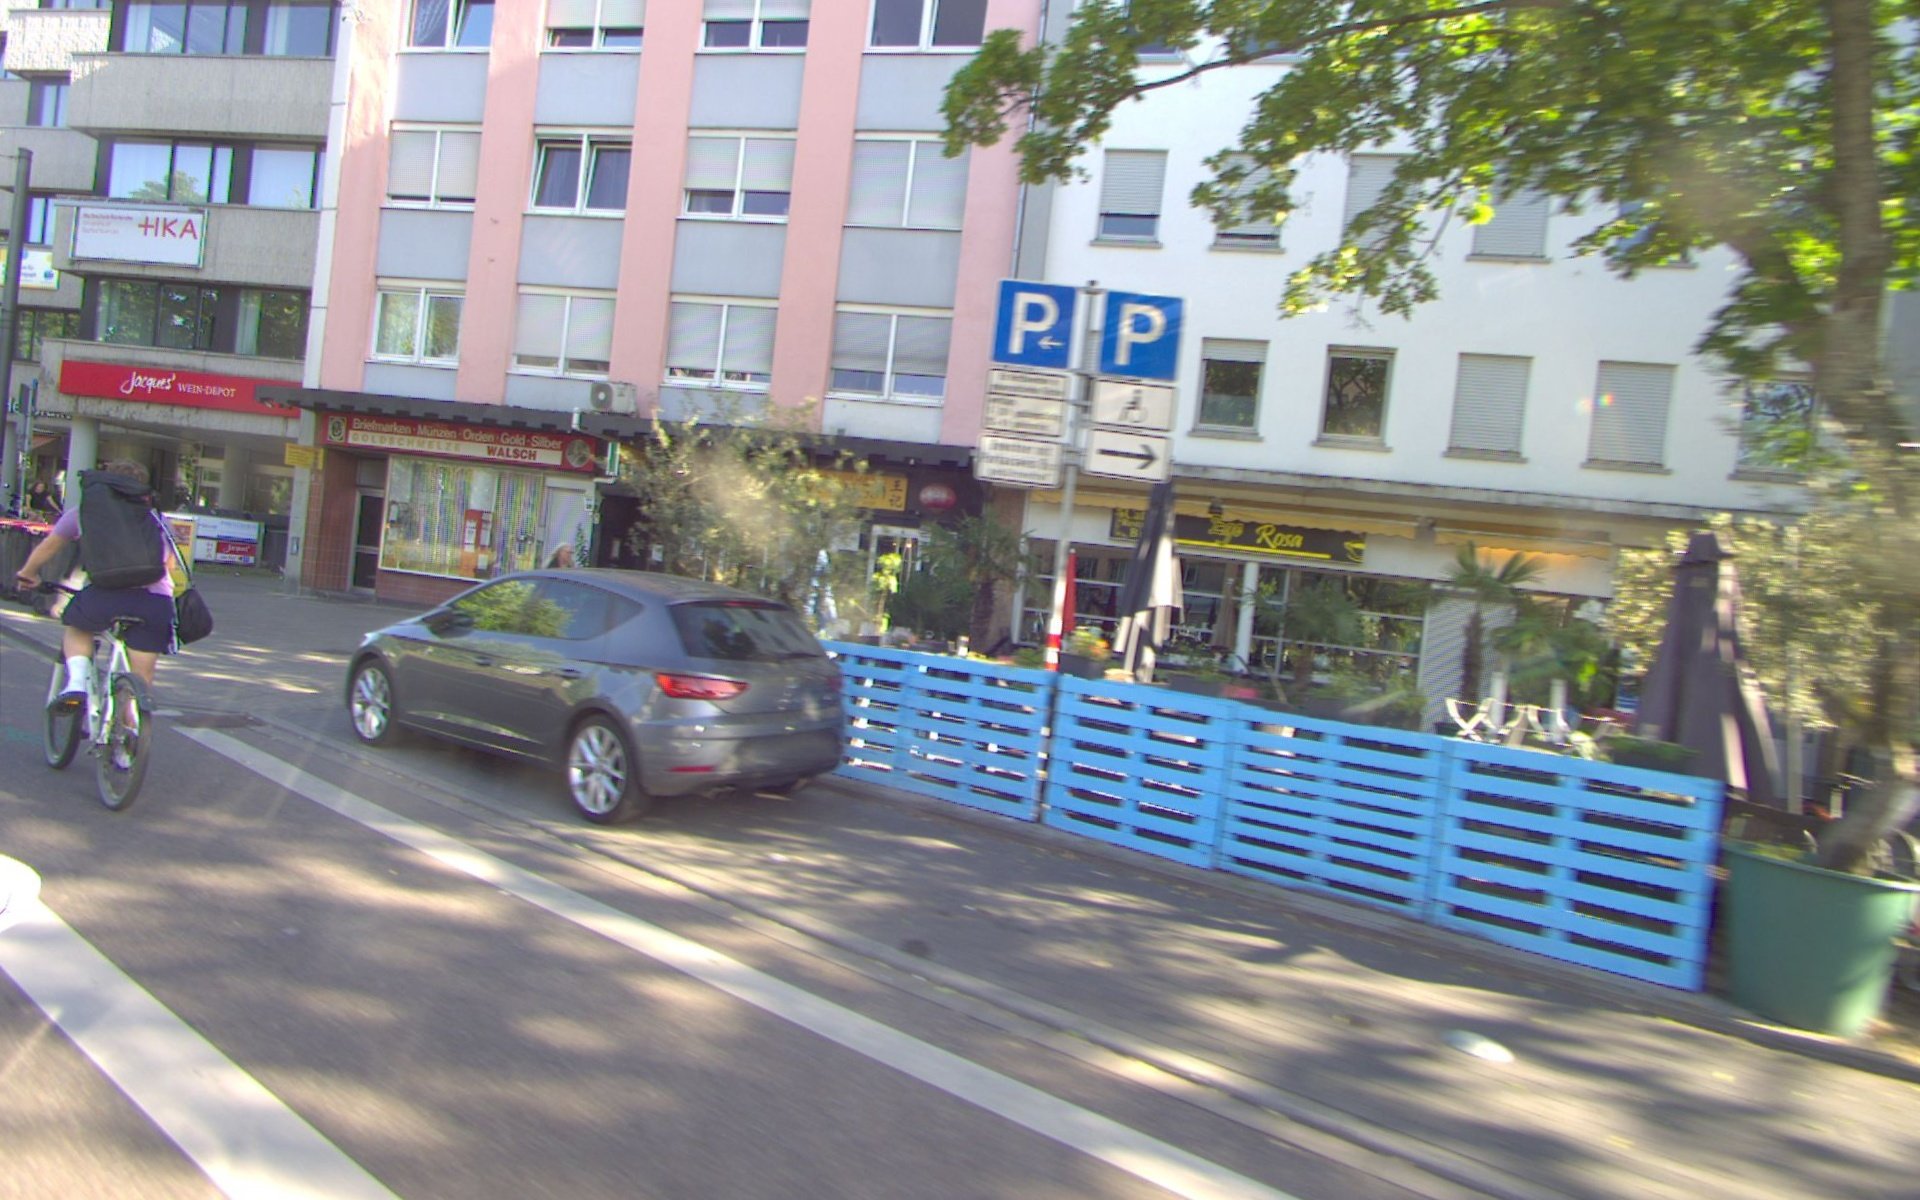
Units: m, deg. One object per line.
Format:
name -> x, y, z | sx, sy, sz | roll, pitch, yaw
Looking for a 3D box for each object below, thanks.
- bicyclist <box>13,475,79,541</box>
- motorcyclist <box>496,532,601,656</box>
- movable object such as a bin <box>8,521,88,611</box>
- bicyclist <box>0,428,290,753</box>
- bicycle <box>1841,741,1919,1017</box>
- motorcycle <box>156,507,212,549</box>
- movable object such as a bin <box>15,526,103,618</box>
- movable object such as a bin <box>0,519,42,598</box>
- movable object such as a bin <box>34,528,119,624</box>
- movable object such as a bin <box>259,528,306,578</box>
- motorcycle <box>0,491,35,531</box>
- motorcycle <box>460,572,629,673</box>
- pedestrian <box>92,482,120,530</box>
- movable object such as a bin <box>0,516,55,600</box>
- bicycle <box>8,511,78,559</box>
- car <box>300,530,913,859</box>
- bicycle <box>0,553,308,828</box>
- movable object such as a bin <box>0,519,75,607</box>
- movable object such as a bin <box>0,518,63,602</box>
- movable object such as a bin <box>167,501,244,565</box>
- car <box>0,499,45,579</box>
bicyclist -> -20.767, -2.091, 22.857 | 0.977, 1.342, 0.759 | 6, -1, 30
motorcyclist -> -5.664, -0.072, 13.875 | 0.792, 1.569, 0.900 | 6, -1, 27
movable object such as a bin -> -11.990, -0.441, 13.229 | 0.488, 1.081, 0.592 | 6, -1, 33
bicyclist -> -4.456, -0.041, 5.325 | 0.971, 1.501, 1.041 | 6, -1, 26
bicycle -> 5.599, 1.469, 5.200 | 2.146, 1.266, 0.892 | 7, 0, -32
motorcycle -> -26.345, -2.464, 34.138 | 2.064, 1.182, 0.513 | 7, 0, 25
movable object such as a bin -> -11.535, -0.353, 12.887 | 0.600, 1.081, 0.620 | 6, -1, 33
movable object such as a bin -> -13.910, -0.623, 14.647 | 0.595, 1.096, 0.593 | 6, -1, 34
movable object such as a bin -> -10.985, -0.298, 12.513 | 0.561, 1.095, 0.574 | 6, -1, 33
movable object such as a bin -> -17.199, -1.185, 25.532 | 0.713, 1.147, 0.742 | 5, -2, 43
motorcycle -> -30.185, -2.837, 32.226 | 0.761, 1.170, 2.023 | 3, 1, -43
motorcycle -> -5.755, 0.300, 13.897 | 2.257, 1.139, 0.778 | 6, -1, 27
pedestrian -> -35.086, -3.843, 41.336 | 0.700, 1.837, 0.709 | 7, -1, -38
movable object such as a bin -> -13.429, -0.600, 14.314 | 0.517, 1.118, 0.611 | 6, -1, 33
bicycle -> -20.851, -1.483, 22.854 | 2.035, 0.902, 0.535 | 6, -1, 31
car -> -2.718, 0.459, 7.247 | 4.510, 1.456, 1.765 | 7, 1, 35
bicycle -> -4.690, 0.394, 5.416 | 2.189, 1.149, 0.888 | 6, -1, 26
movable object such as a bin -> -12.474, -0.495, 13.543 | 0.603, 1.081, 0.607 | 6, -1, 33
movable object such as a bin -> -12.992, -0.557, 13.967 | 0.536, 1.081, 0.605 | 6, -1, 33
movable object such as a bin -> -19.459, -1.717, 25.944 | 1.107, 1.414, 1.333 | 5, -2, 44
car -> -19.004, -1.295, 18.974 | 4.533, 1.359, 1.851 | 5, -2, 39
